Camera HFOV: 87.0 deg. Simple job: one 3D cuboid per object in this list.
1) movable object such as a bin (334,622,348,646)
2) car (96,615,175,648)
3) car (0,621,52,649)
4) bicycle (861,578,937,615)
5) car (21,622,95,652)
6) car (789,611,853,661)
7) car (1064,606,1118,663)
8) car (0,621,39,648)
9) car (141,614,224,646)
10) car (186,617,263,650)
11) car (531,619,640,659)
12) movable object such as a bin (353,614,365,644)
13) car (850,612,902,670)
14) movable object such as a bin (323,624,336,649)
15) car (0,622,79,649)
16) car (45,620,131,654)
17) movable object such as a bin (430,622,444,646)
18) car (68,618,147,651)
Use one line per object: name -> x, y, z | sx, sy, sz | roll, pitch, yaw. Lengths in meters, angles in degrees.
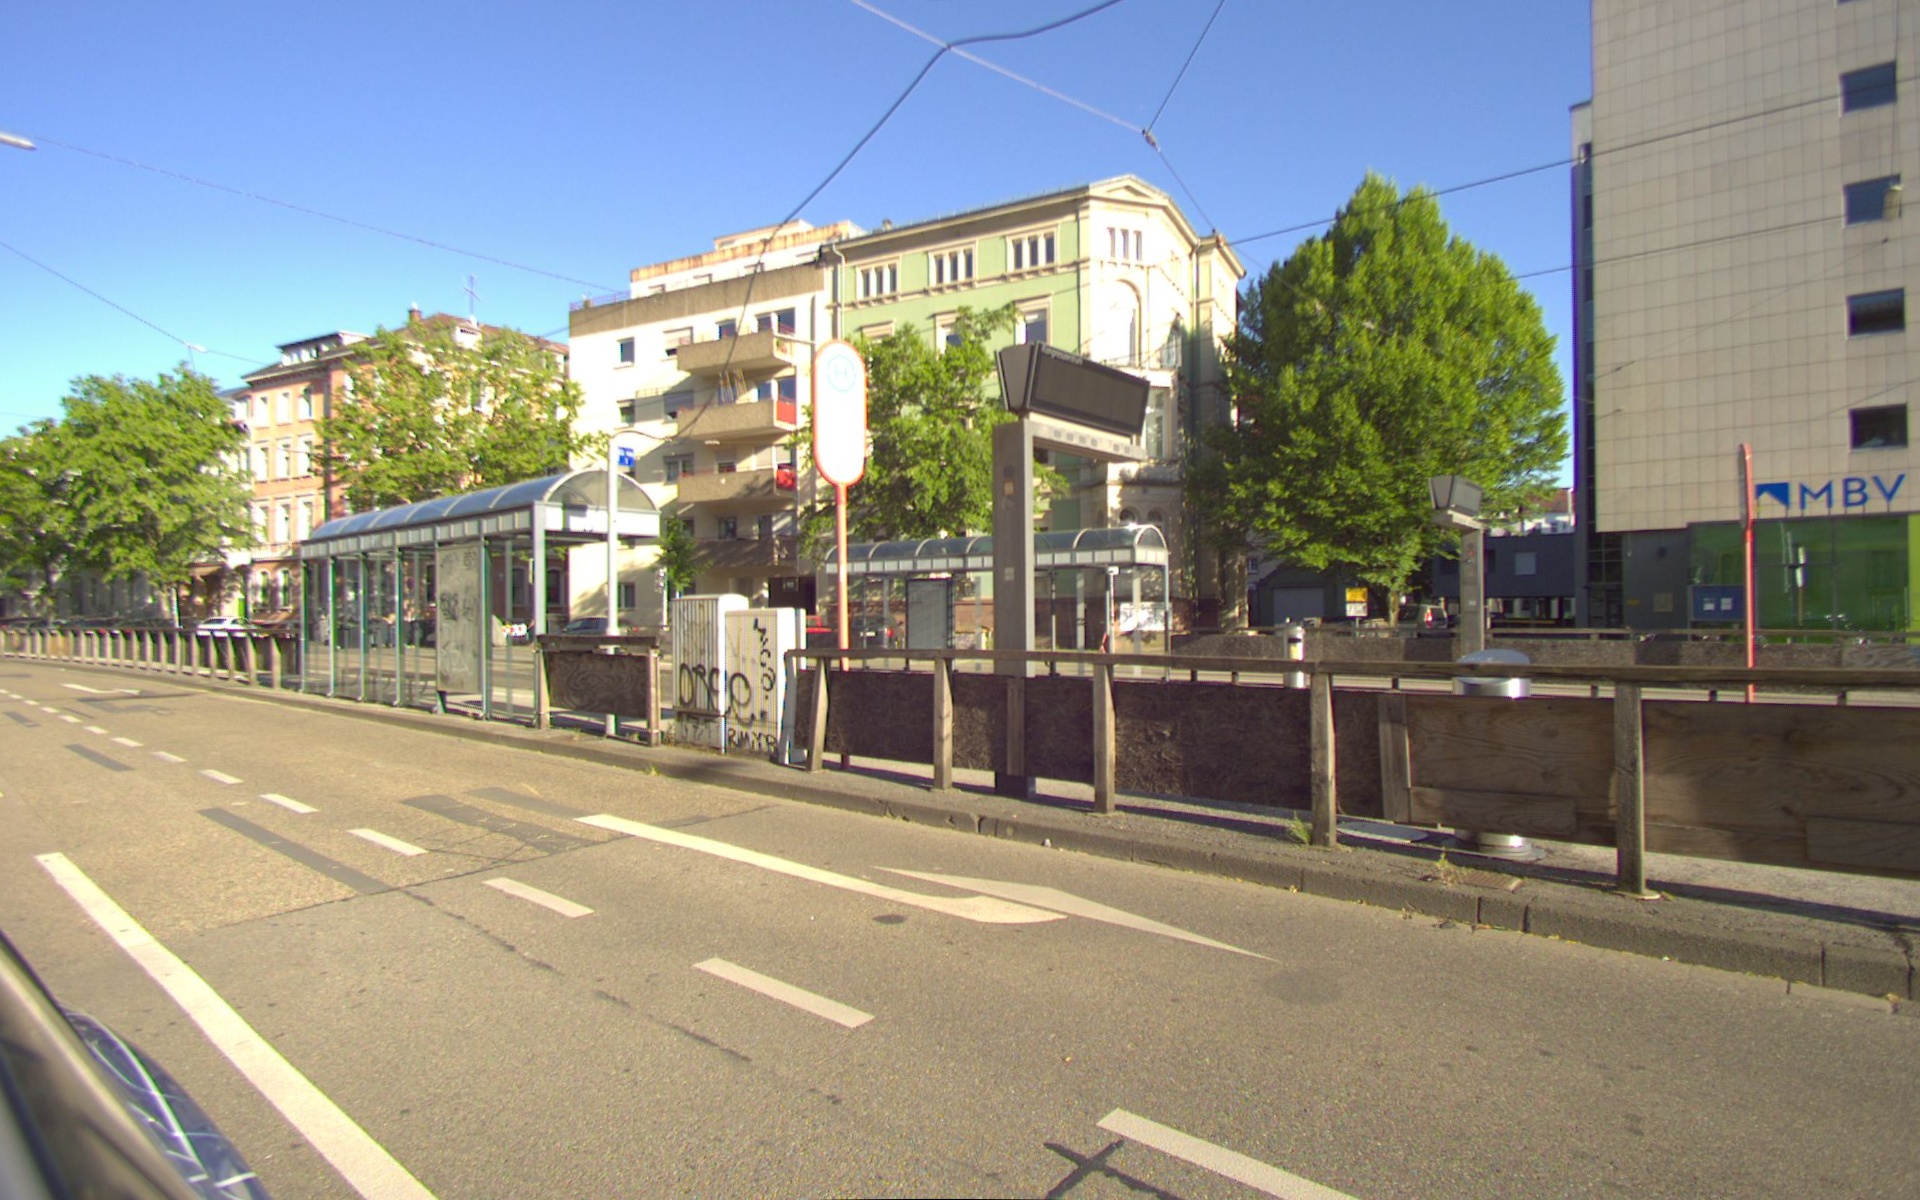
movable object such as a bin -> -29.199, 1.602, 47.755 | 0.639, 1.076, 0.375 | -1, -1, 40
car -> -46.869, 1.773, 57.644 | 1.609, 1.629, 3.993 | -1, 1, -7
car -> -61.009, 2.236, 65.145 | 1.748, 1.666, 3.871 | 0, 1, -1
bicycle -> -2.392, -0.118, 39.302 | 2.995, 1.409, 0.713 | -1, -1, 27
car -> -55.540, 2.247, 62.391 | 1.682, 1.544, 3.284 | -1, 2, -3
car -> -4.508, 1.121, 33.316 | 1.845, 1.436, 4.521 | 0, 1, -5
car -> 4.140, 1.005, 31.779 | 1.572, 1.581, 4.504 | 0, 1, 8
car -> -63.171, 2.260, 66.550 | 1.748, 1.666, 3.872 | 0, 1, -1
car -> -42.644, 1.610, 55.635 | 1.664, 1.519, 3.926 | -2, 1, -3
car -> -39.450, 1.761, 54.419 | 1.708, 1.533, 3.924 | -2, 1, -9
car -> -14.358, 1.458, 38.700 | 4.278, 1.421, 1.693 | -1, -1, 32
movable object such as a bin -> -28.601, 1.390, 48.142 | 0.385, 1.437, 0.375 | -1, -1, 40
car -> -2.755, 1.277, 33.041 | 1.566, 1.654, 4.521 | 0, 1, -5
movable object such as a bin -> -30.077, 1.740, 48.266 | 0.639, 1.212, 0.375 | -1, -1, 40
car -> -58.354, 2.218, 64.179 | 1.745, 1.496, 3.823 | 0, 1, -1
car -> -52.337, 2.193, 60.848 | 1.682, 1.735, 4.291 | 0, 2, -4
movable object such as a bin -> -25.042, 1.616, 48.448 | 0.551, 1.105, 0.376 | 1, 0, 34
car -> -49.456, 1.968, 58.817 | 1.609, 1.629, 3.993 | -1, 1, -7
